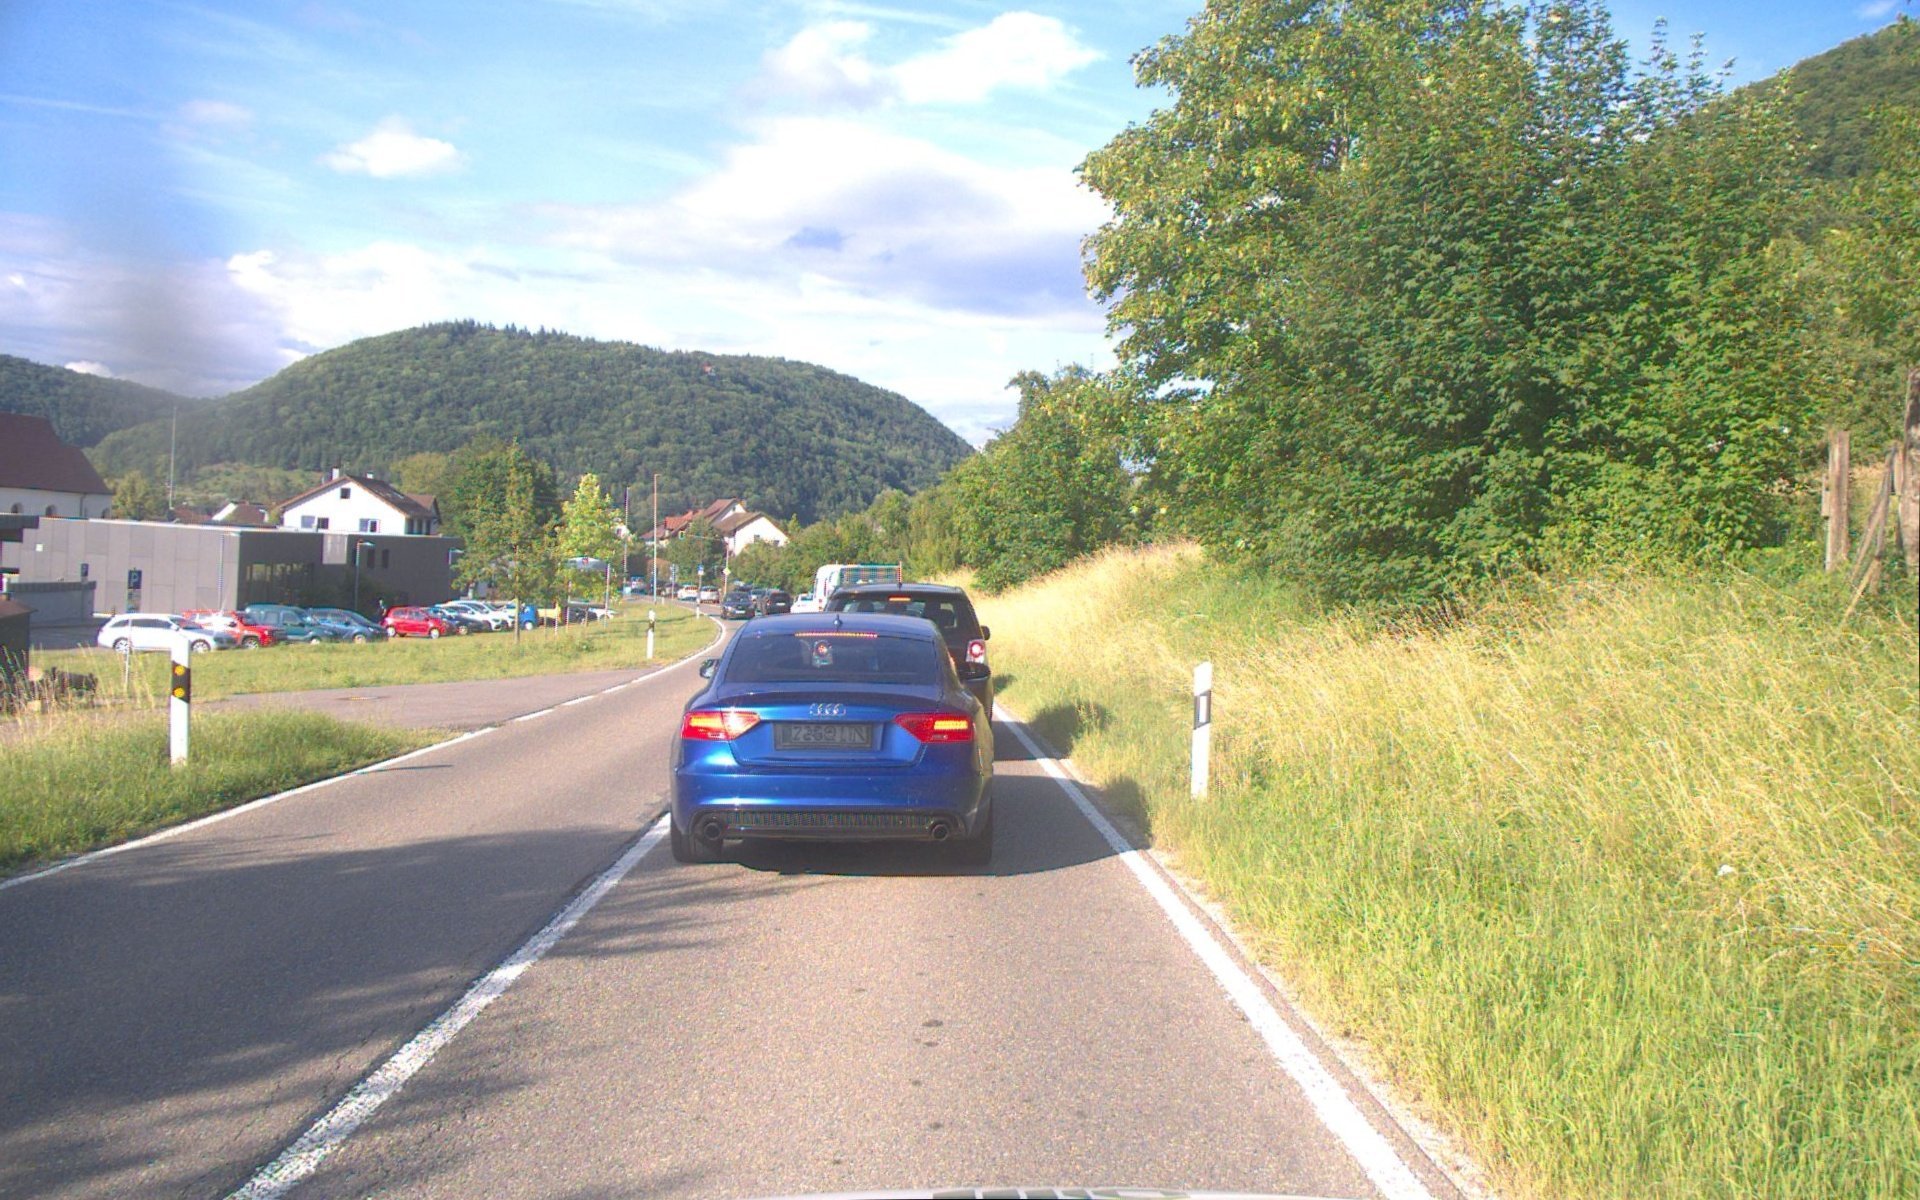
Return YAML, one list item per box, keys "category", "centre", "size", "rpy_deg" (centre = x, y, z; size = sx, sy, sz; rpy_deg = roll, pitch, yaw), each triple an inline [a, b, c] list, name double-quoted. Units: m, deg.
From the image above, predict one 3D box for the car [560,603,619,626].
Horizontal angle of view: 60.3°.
- category: "car"
  centre: [-26.771, 1.047, 119.684]
  size: [3.908, 1.606, 1.751]
  rpy_deg: [1, 0, -4]

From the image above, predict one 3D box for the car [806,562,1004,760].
- category: "car"
  centre: [-0.498, 0.548, 16.474]
  size: [1.718, 1.710, 3.846]
  rpy_deg: [1, 0, -1]

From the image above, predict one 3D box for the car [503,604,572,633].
- category: "car"
  centre: [-26.871, 1.173, 105.209]
  size: [3.908, 1.741, 1.998]
  rpy_deg: [1, 0, -4]

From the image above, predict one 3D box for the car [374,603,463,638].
- category: "car"
  centre: [-27.903, 1.048, 85.316]
  size: [3.908, 1.741, 1.998]
  rpy_deg: [1, 0, -4]

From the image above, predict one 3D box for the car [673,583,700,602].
- category: "car"
  centre: [-25.688, -0.702, 155.204]
  size: [1.818, 1.742, 3.978]
  rpy_deg: [1, 0, -19]

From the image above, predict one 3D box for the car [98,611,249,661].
- category: "car"
  centre: [-29.232, 1.323, 61.592]
  size: [4.637, 1.741, 1.998]
  rpy_deg: [1, 0, -4]

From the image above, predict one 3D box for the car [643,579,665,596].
- category: "car"
  centre: [-32.951, -1.312, 178.126]
  size: [1.818, 1.742, 3.978]
  rpy_deg: [1, 0, -19]

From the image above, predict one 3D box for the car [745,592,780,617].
- category: "car"
  centre: [-13.940, 0.325, 116.628]
  size: [1.815, 1.742, 3.983]
  rpy_deg: [1, 0, -15]

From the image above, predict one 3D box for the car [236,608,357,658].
- category: "car"
  centre: [-28.247, 1.388, 70.525]
  size: [4.319, 2.043, 1.998]
  rpy_deg: [1, 0, -4]

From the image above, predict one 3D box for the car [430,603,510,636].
- category: "car"
  centre: [-27.687, 1.096, 93.553]
  size: [3.908, 1.741, 1.998]
  rpy_deg: [1, 0, -4]

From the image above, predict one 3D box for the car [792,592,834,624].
- category: "car"
  centre: [-7.272, 0.411, 81.464]
  size: [1.811, 1.508, 3.992]
  rpy_deg: [1, 0, -9]

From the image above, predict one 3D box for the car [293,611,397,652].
- category: "car"
  centre: [-27.699, 1.419, 74.583]
  size: [3.908, 1.741, 1.998]
  rpy_deg: [1, 0, -4]

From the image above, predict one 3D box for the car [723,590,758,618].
- category: "car"
  centre: [-11.743, 0.211, 88.364]
  size: [1.673, 1.455, 4.041]
  rpy_deg: [1, 0, -10]

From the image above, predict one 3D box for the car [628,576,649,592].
- category: "car"
  centre: [-36.915, -1.784, 189.813]
  size: [1.818, 1.742, 3.978]
  rpy_deg: [1, 0, -19]

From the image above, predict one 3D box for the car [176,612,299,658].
- category: "car"
  centre: [-28.245, 1.357, 64.722]
  size: [3.908, 1.741, 1.998]
  rpy_deg: [1, 0, -4]

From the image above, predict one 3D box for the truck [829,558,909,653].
- category: "truck"
  centre: [-2.753, 0.170, 49.145]
  size: [2.186, 2.615, 6.098]
  rpy_deg: [1, 0, -4]

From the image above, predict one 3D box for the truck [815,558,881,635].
- category: "truck"
  centre: [-4.139, -0.103, 60.197]
  size: [2.187, 2.615, 6.699]
  rpy_deg: [1, 0, -6]

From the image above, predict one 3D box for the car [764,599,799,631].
- category: "car"
  centre: [-10.259, 0.838, 95.042]
  size: [1.811, 1.742, 3.992]
  rpy_deg: [1, 0, -9]

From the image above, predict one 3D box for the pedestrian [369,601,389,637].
- category: "pedestrian"
  centre: [-33.844, 1.111, 96.413]
  size: [0.808, 2.049, 0.973]
  rpy_deg: [1, -1, -2]

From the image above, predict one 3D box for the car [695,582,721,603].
- category: "car"
  centre: [-21.860, -0.609, 143.483]
  size: [1.815, 1.742, 3.983]
  rpy_deg: [1, 0, -15]

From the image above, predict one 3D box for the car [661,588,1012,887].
- category: "car"
  centre: [-0.627, 0.695, 10.150]
  size: [1.718, 1.455, 3.846]
  rpy_deg: [1, 0, -1]

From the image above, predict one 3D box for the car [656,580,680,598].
- category: "car"
  centre: [-29.751, -1.135, 168.512]
  size: [1.818, 1.742, 3.978]
  rpy_deg: [1, 0, -19]

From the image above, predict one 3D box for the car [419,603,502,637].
- category: "car"
  centre: [-27.130, 1.086, 89.911]
  size: [3.908, 1.741, 1.998]
  rpy_deg: [1, 0, -4]

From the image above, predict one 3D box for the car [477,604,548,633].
- category: "car"
  centre: [-27.750, 1.144, 102.624]
  size: [3.908, 1.741, 1.998]
  rpy_deg: [1, 0, -4]

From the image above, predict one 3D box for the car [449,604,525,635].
- category: "car"
  centre: [-27.667, 1.114, 96.839]
  size: [3.908, 1.741, 1.998]
  rpy_deg: [1, 0, -4]
